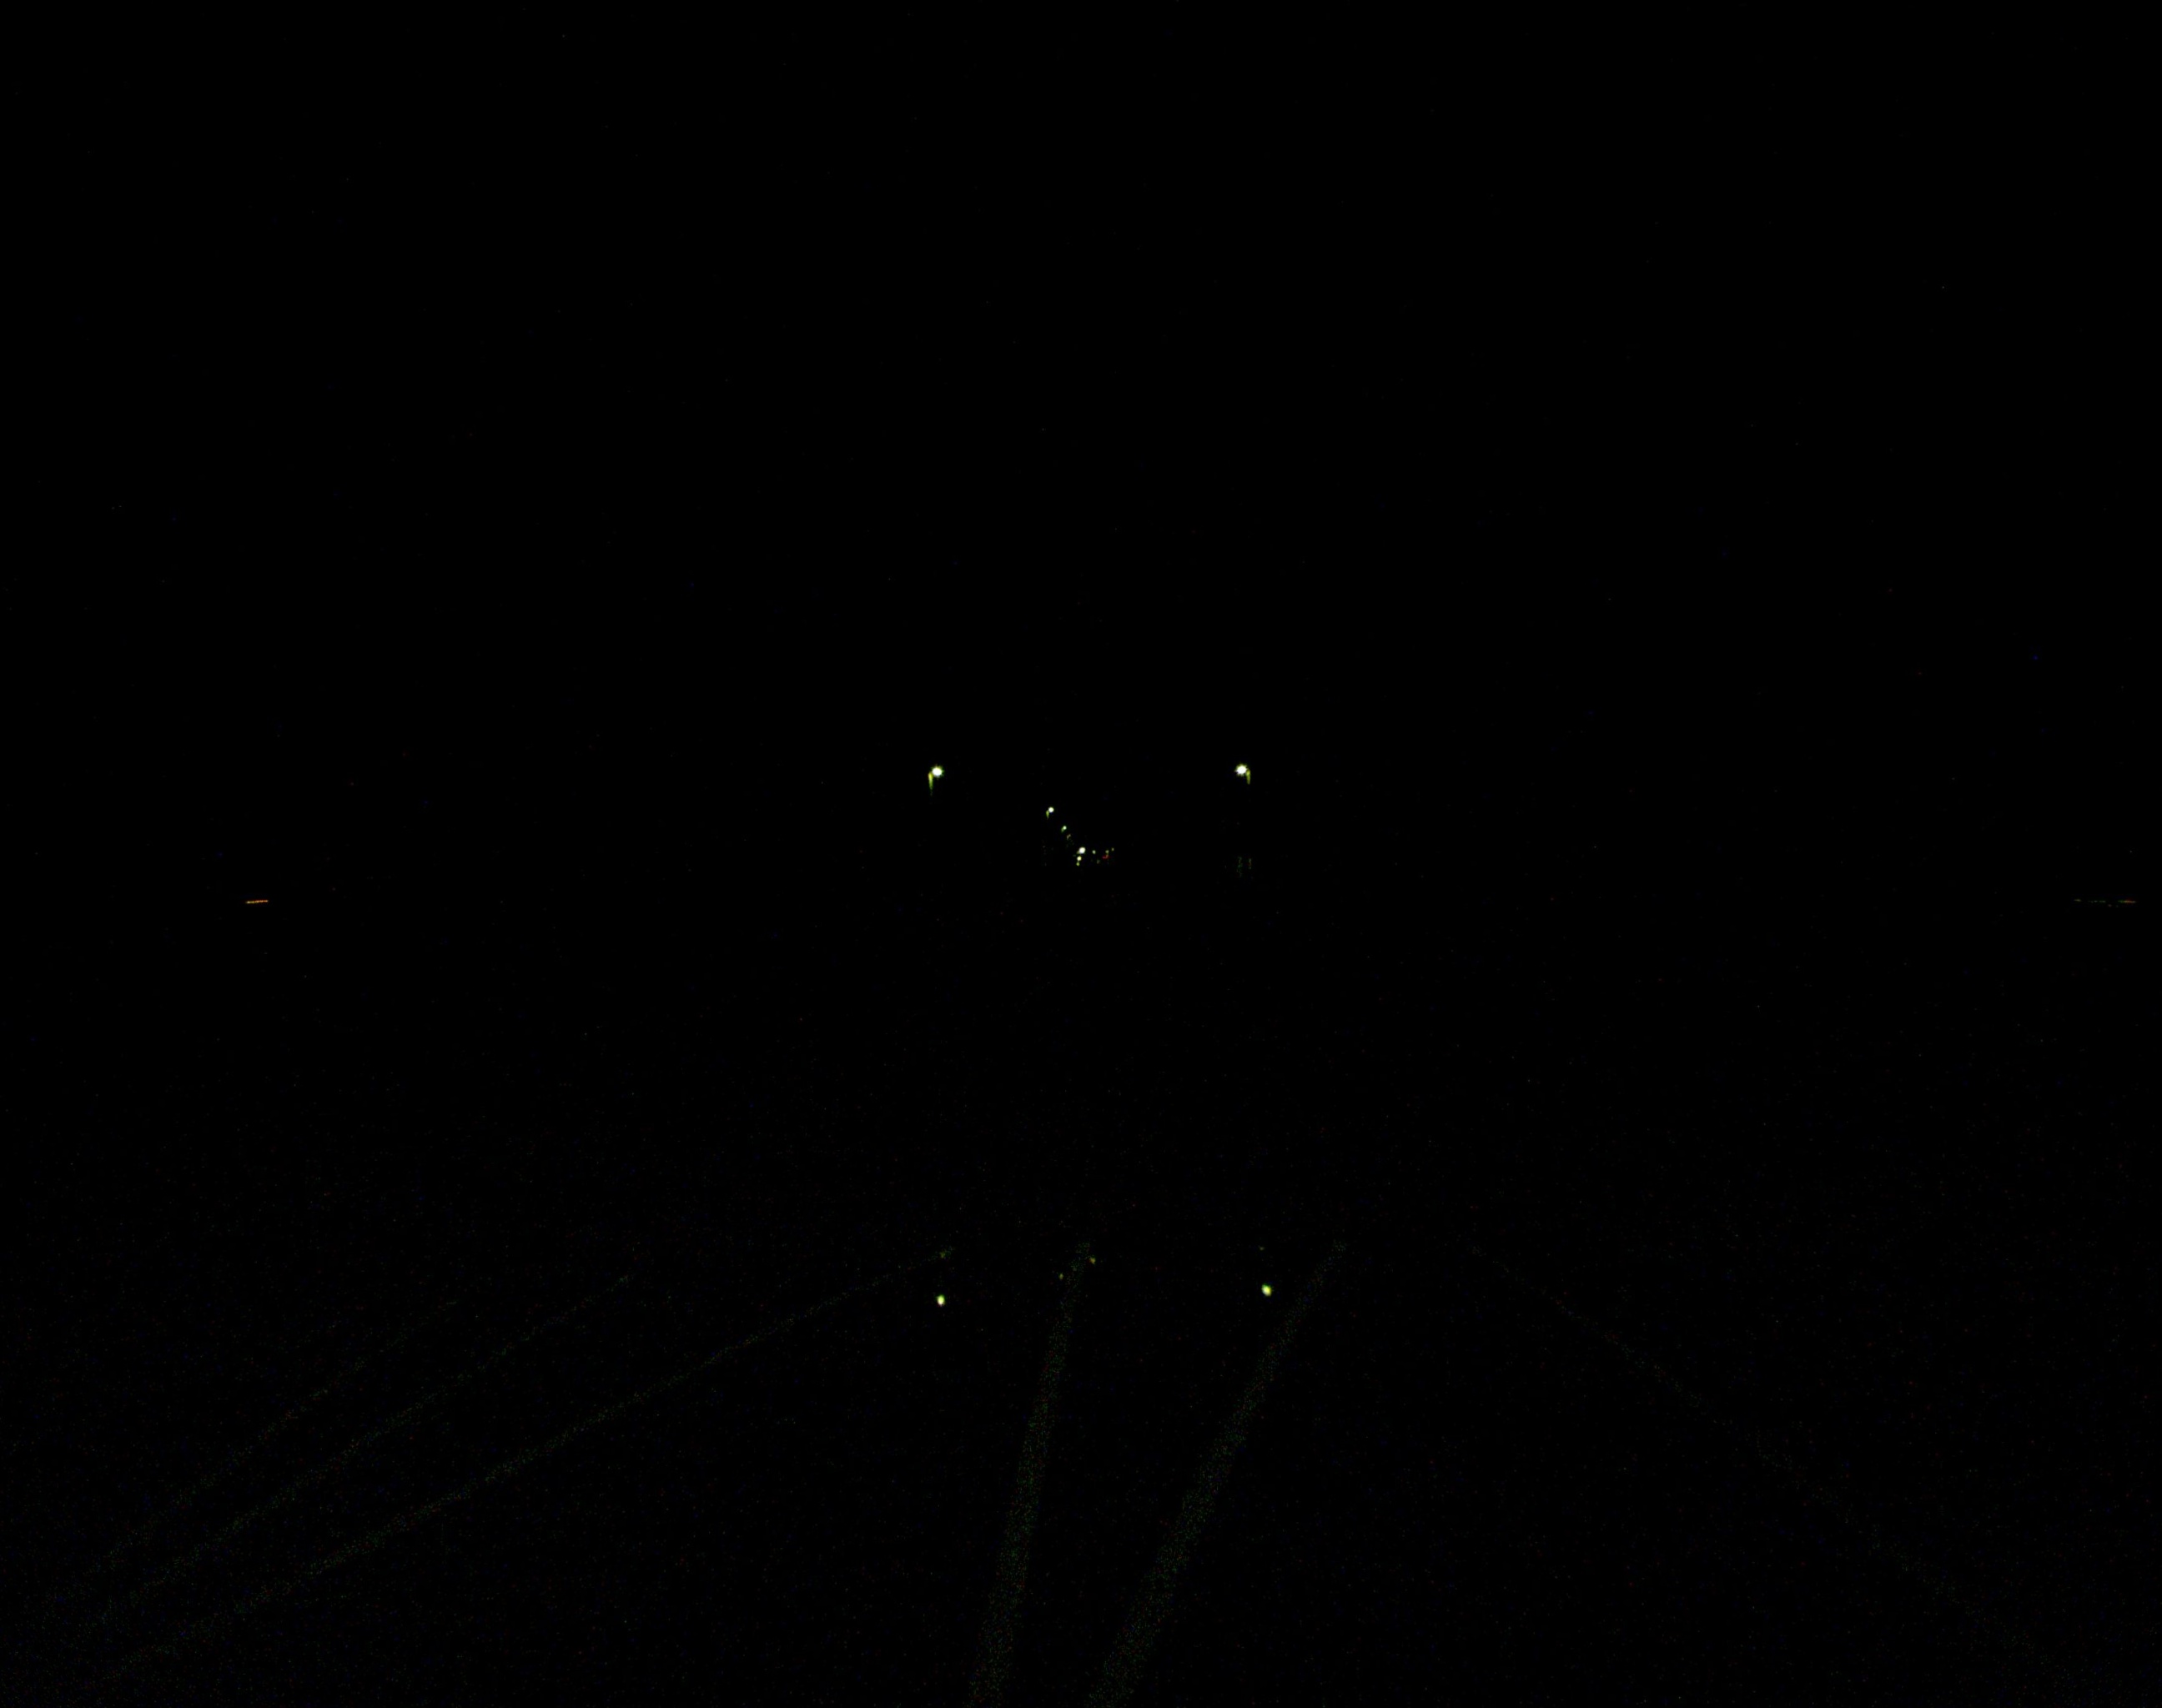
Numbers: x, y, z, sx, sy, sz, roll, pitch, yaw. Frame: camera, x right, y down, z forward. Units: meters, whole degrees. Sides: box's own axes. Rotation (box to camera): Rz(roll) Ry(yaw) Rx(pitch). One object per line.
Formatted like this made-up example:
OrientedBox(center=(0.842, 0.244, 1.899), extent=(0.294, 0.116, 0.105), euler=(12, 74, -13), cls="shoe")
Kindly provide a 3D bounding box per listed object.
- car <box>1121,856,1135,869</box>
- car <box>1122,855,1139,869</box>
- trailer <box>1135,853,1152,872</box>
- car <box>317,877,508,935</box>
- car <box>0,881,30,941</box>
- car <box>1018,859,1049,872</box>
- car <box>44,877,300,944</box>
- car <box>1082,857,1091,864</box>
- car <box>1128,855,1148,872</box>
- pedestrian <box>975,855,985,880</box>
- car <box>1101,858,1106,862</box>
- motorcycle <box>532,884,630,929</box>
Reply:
OrientedBox(center=(6.091, 1.077, 98.692), extent=(1.692, 1.501, 4.279), euler=(-2, 0, 2), cls="car")
OrientedBox(center=(5.905, 0.976, 90.558), extent=(1.771, 1.510, 4.279), euler=(-3, 0, 1), cls="car")
OrientedBox(center=(6.026, 0.840, 73.717), extent=(1.451, 1.678, 3.427), euler=(-5, 0, 3), cls="trailer")
OrientedBox(center=(-18.939, 1.432, 21.734), extent=(3.633, 1.470, 1.862), euler=(-1, 0, -15), cls="car")
OrientedBox(center=(-28.623, 1.420, 17.591), extent=(4.718, 1.465, 1.759), euler=(0, 0, -29), cls="car")
OrientedBox(center=(-6.222, 1.480, 99.697), extent=(3.719, 1.464, 1.731), euler=(-3, 0, 4), cls="car")
OrientedBox(center=(-23.660, 1.415, 19.976), extent=(4.036, 1.539, 1.610), euler=(-1, 0, -20), cls="car")
OrientedBox(center=(1.091, 1.358, 159.820), extent=(1.747, 1.560, 4.209), euler=(-1, 0, 2), cls="car")
OrientedBox(center=(5.725, 0.923, 76.954), extent=(1.675, 1.513, 2.978), euler=(-5, 0, 0), cls="car")
OrientedBox(center=(-8.123, 1.085, 60.928), extent=(0.647, 1.926, 0.773), euler=(0, 0, 1), cls="pedestrian")
OrientedBox(center=(7.617, 2.114, 261.564), extent=(1.606, 1.474, 3.699), euler=(-1, 0, 1), cls="car")
OrientedBox(center=(-14.444, 1.503, 22.015), extent=(2.267, 1.207, 0.710), euler=(-1, 0, -15), cls="motorcycle")
